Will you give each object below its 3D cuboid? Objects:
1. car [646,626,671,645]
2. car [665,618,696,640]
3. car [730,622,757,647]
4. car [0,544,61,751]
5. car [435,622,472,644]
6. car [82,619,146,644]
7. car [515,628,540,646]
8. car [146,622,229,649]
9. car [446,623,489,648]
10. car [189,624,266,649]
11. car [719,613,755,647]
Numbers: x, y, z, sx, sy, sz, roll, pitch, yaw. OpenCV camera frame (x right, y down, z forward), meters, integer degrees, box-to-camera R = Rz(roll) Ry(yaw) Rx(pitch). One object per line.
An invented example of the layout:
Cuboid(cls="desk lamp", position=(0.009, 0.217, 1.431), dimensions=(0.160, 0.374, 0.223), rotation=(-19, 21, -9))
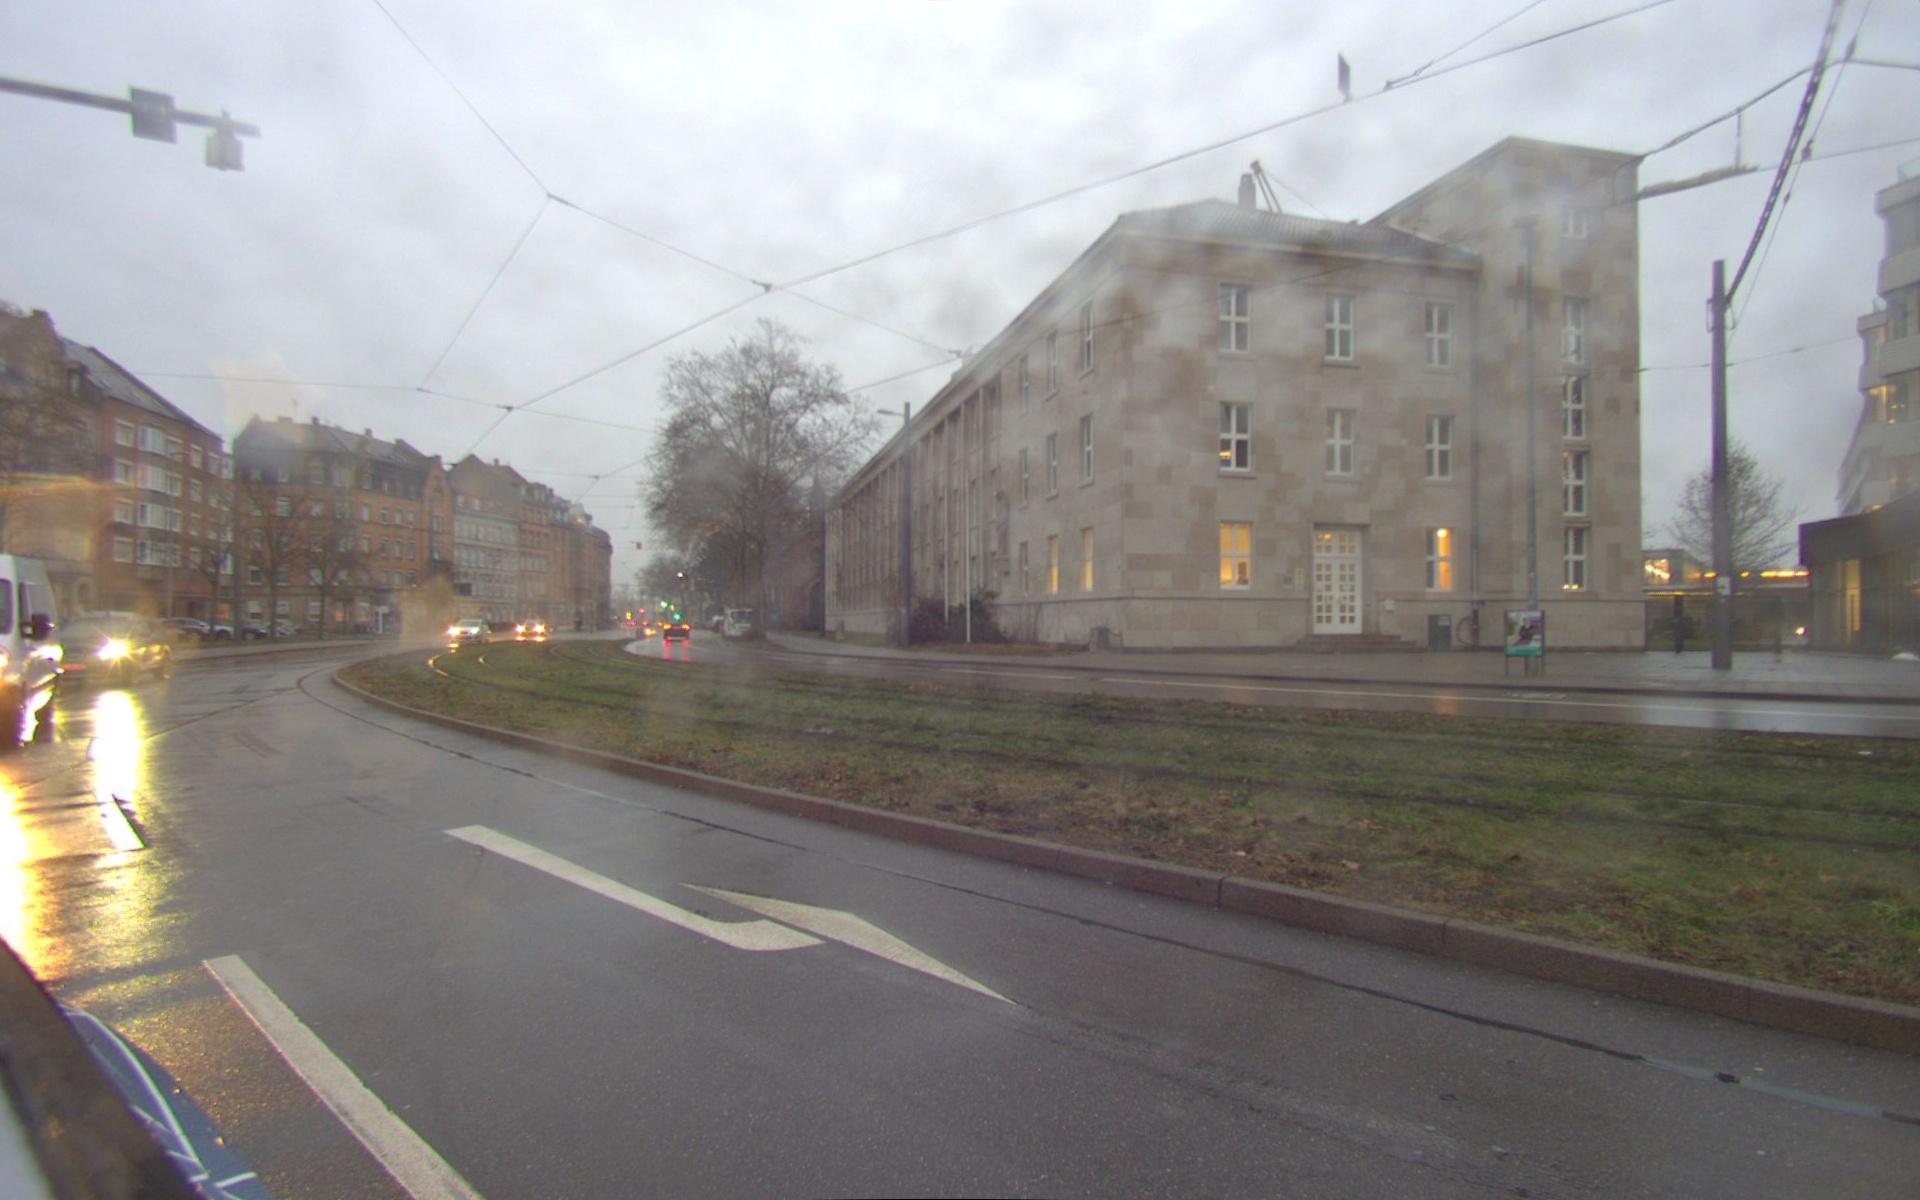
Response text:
Cuboid(cls="car", position=(-25.776, 3.036, 86.656), dimensions=(1.796, 1.446, 4.668), rotation=(-2, 0, -14))
Cuboid(cls="car", position=(-20.021, 2.057, 72.578), dimensions=(1.635, 1.411, 4.532), rotation=(-2, 0, -10))
Cuboid(cls="car", position=(-13.267, 2.095, 61.895), dimensions=(1.535, 1.439, 2.963), rotation=(0, 0, -14))
Cuboid(cls="car", position=(-13.597, 0.618, 13.378), dimensions=(2.096, 2.398, 5.650), rotation=(0, -1, -37))
Cuboid(cls="car", position=(-39.093, 2.511, 78.199), dimensions=(1.695, 1.630, 3.949), rotation=(0, -2, -14))
Cuboid(cls="car", position=(-53.382, 1.967, 63.936), dimensions=(1.449, 1.555, 3.881), rotation=(0, -2, -12))
Cuboid(cls="car", position=(-35.938, 3.076, 84.162), dimensions=(1.809, 1.497, 3.533), rotation=(0, -2, -22))
Cuboid(cls="car", position=(-43.970, 1.979, 57.633), dimensions=(3.706, 1.364, 1.605), rotation=(-2, 0, -39))
Cuboid(cls="car", position=(-29.685, 2.127, 61.138), dimensions=(1.865, 1.424, 3.959), rotation=(0, -2, -19))
Cuboid(cls="car", position=(-44.609, 2.200, 61.665), dimensions=(3.706, 1.364, 1.605), rotation=(-2, 0, -39))
Cuboid(cls="car", position=(-14.633, 1.926, 66.226), dimensions=(1.966, 2.029, 4.522), rotation=(-2, 0, -15))
